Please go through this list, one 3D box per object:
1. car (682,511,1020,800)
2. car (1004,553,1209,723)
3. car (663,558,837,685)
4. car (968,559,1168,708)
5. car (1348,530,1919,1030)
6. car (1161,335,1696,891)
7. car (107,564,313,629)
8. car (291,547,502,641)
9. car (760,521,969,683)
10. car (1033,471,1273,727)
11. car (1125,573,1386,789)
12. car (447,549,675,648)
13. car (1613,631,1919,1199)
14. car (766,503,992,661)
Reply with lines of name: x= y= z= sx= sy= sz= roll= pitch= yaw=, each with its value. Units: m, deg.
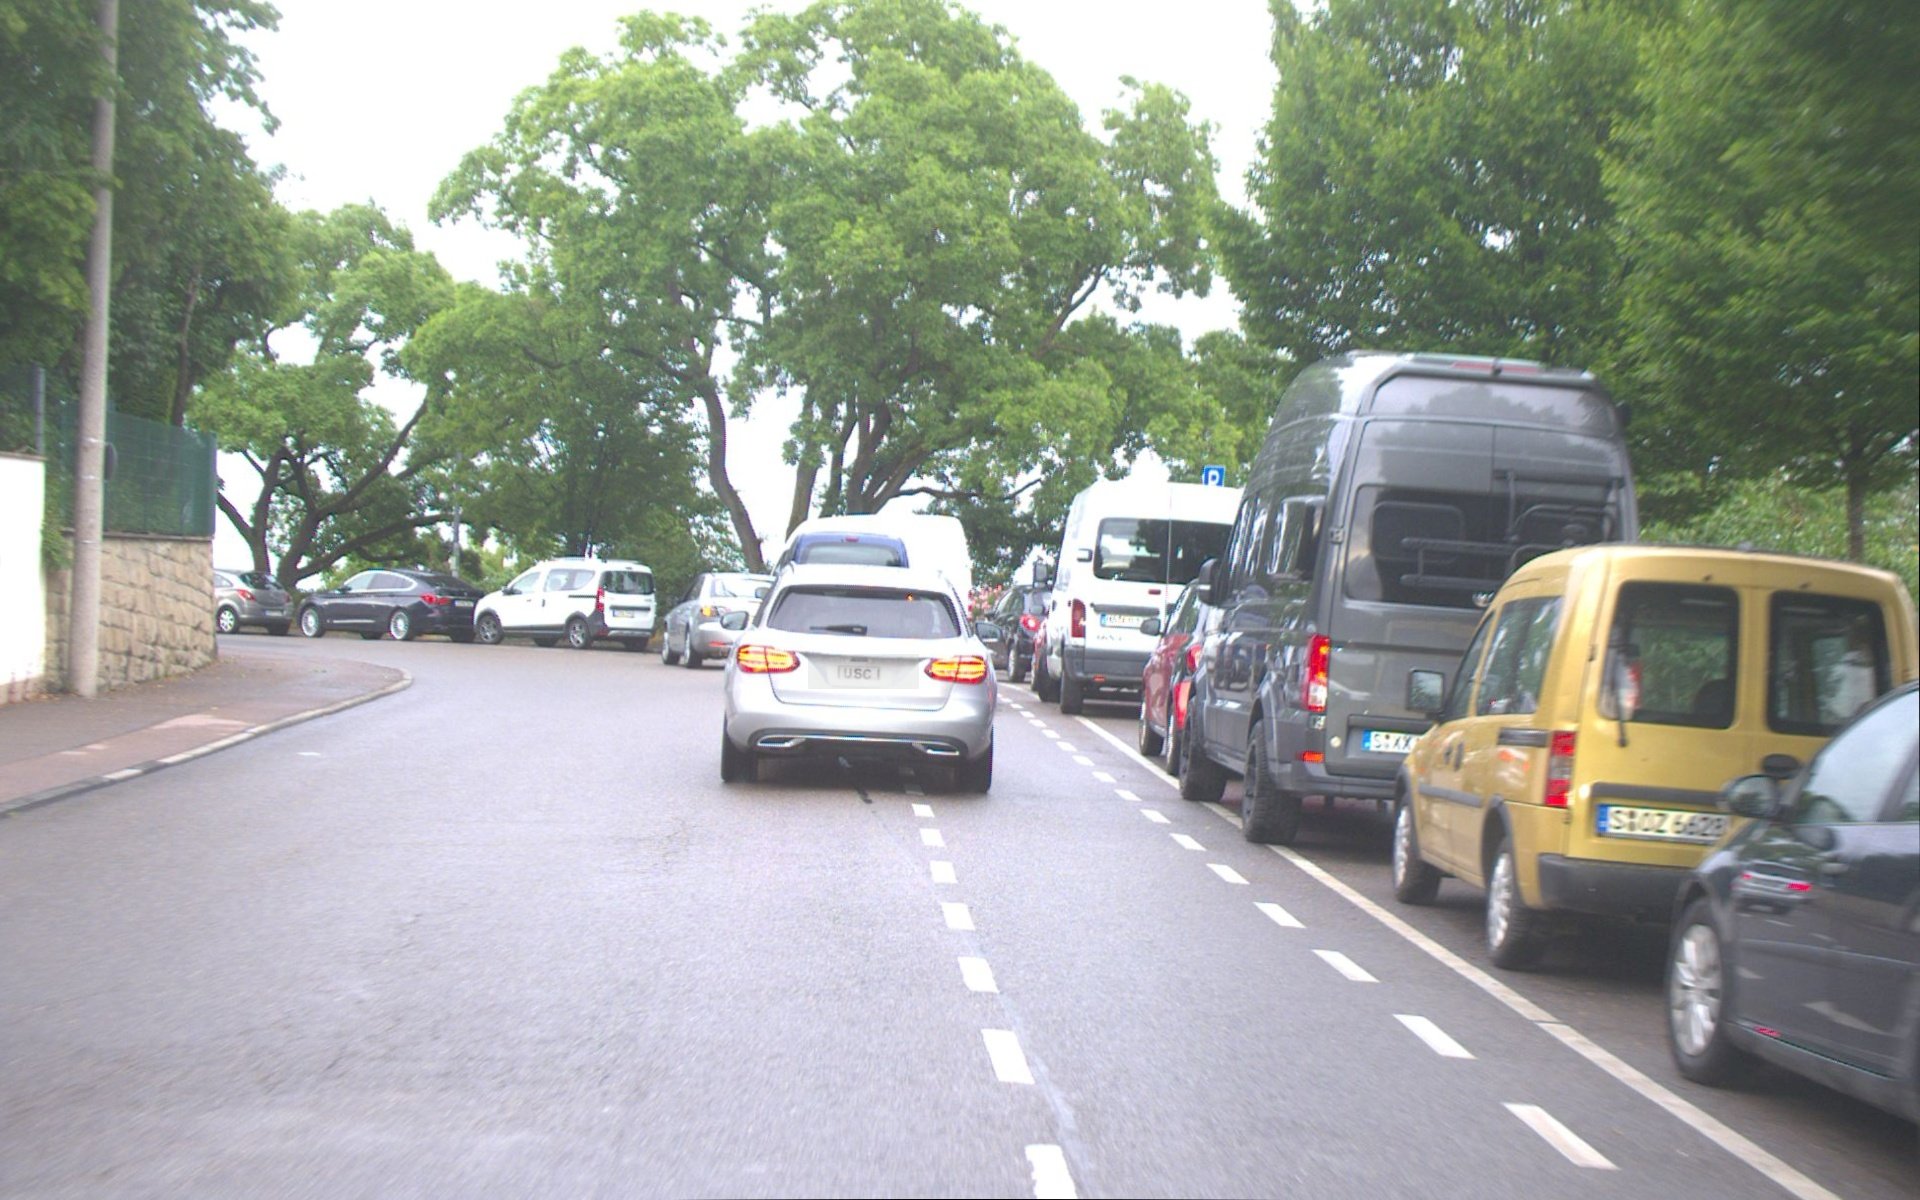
car: x=-0.758 y=0.326 z=23.596 sx=2.025 sy=1.702 sz=4.216 roll=3 pitch=0 yaw=-2
car: x=1.833 y=0.442 z=44.461 sx=2.064 sy=1.953 sz=4.497 roll=4 pitch=0 yaw=-4
car: x=-3.149 y=0.313 z=50.785 sx=1.993 sy=1.702 sz=4.001 roll=3 pitch=-1 yaw=-11
car: x=1.544 y=0.456 z=51.163 sx=2.063 sy=1.953 sz=4.498 roll=4 pitch=1 yaw=-9
car: x=2.973 y=0.678 z=15.416 sx=1.727 sy=1.779 sz=4.276 roll=6 pitch=0 yaw=-1
car: x=2.709 y=0.040 z=21.524 sx=2.124 sy=2.877 sz=5.770 roll=4 pitch=0 yaw=-3
car: x=-16.930 y=-0.094 z=77.585 sx=4.490 sy=1.397 sz=1.967 roll=1 pitch=1 yaw=34
car: x=-12.182 y=-0.147 z=74.150 sx=4.667 sy=1.692 sz=1.965 roll=4 pitch=1 yaw=43
car: x=-1.180 y=0.038 z=40.490 sx=1.993 sy=1.702 sz=4.001 roll=3 pitch=-1 yaw=-7
car: x=2.019 y=-0.034 z=37.490 sx=2.064 sy=2.486 sz=4.760 roll=4 pitch=0 yaw=-1
car: x=2.338 y=0.605 z=28.005 sx=1.583 sy=1.522 sz=3.586 roll=4 pitch=0 yaw=-2
car: x=-8.195 y=-0.047 z=70.439 sx=4.492 sy=1.692 sz=1.966 roll=4 pitch=1 yaw=39
car: x=3.231 y=0.925 z=9.775 sx=1.671 sy=1.453 sz=4.224 roll=5 pitch=0 yaw=-2
car: x=-1.477 y=-0.355 z=60.567 sx=2.125 sy=2.518 sz=4.497 roll=4 pitch=1 yaw=-26
